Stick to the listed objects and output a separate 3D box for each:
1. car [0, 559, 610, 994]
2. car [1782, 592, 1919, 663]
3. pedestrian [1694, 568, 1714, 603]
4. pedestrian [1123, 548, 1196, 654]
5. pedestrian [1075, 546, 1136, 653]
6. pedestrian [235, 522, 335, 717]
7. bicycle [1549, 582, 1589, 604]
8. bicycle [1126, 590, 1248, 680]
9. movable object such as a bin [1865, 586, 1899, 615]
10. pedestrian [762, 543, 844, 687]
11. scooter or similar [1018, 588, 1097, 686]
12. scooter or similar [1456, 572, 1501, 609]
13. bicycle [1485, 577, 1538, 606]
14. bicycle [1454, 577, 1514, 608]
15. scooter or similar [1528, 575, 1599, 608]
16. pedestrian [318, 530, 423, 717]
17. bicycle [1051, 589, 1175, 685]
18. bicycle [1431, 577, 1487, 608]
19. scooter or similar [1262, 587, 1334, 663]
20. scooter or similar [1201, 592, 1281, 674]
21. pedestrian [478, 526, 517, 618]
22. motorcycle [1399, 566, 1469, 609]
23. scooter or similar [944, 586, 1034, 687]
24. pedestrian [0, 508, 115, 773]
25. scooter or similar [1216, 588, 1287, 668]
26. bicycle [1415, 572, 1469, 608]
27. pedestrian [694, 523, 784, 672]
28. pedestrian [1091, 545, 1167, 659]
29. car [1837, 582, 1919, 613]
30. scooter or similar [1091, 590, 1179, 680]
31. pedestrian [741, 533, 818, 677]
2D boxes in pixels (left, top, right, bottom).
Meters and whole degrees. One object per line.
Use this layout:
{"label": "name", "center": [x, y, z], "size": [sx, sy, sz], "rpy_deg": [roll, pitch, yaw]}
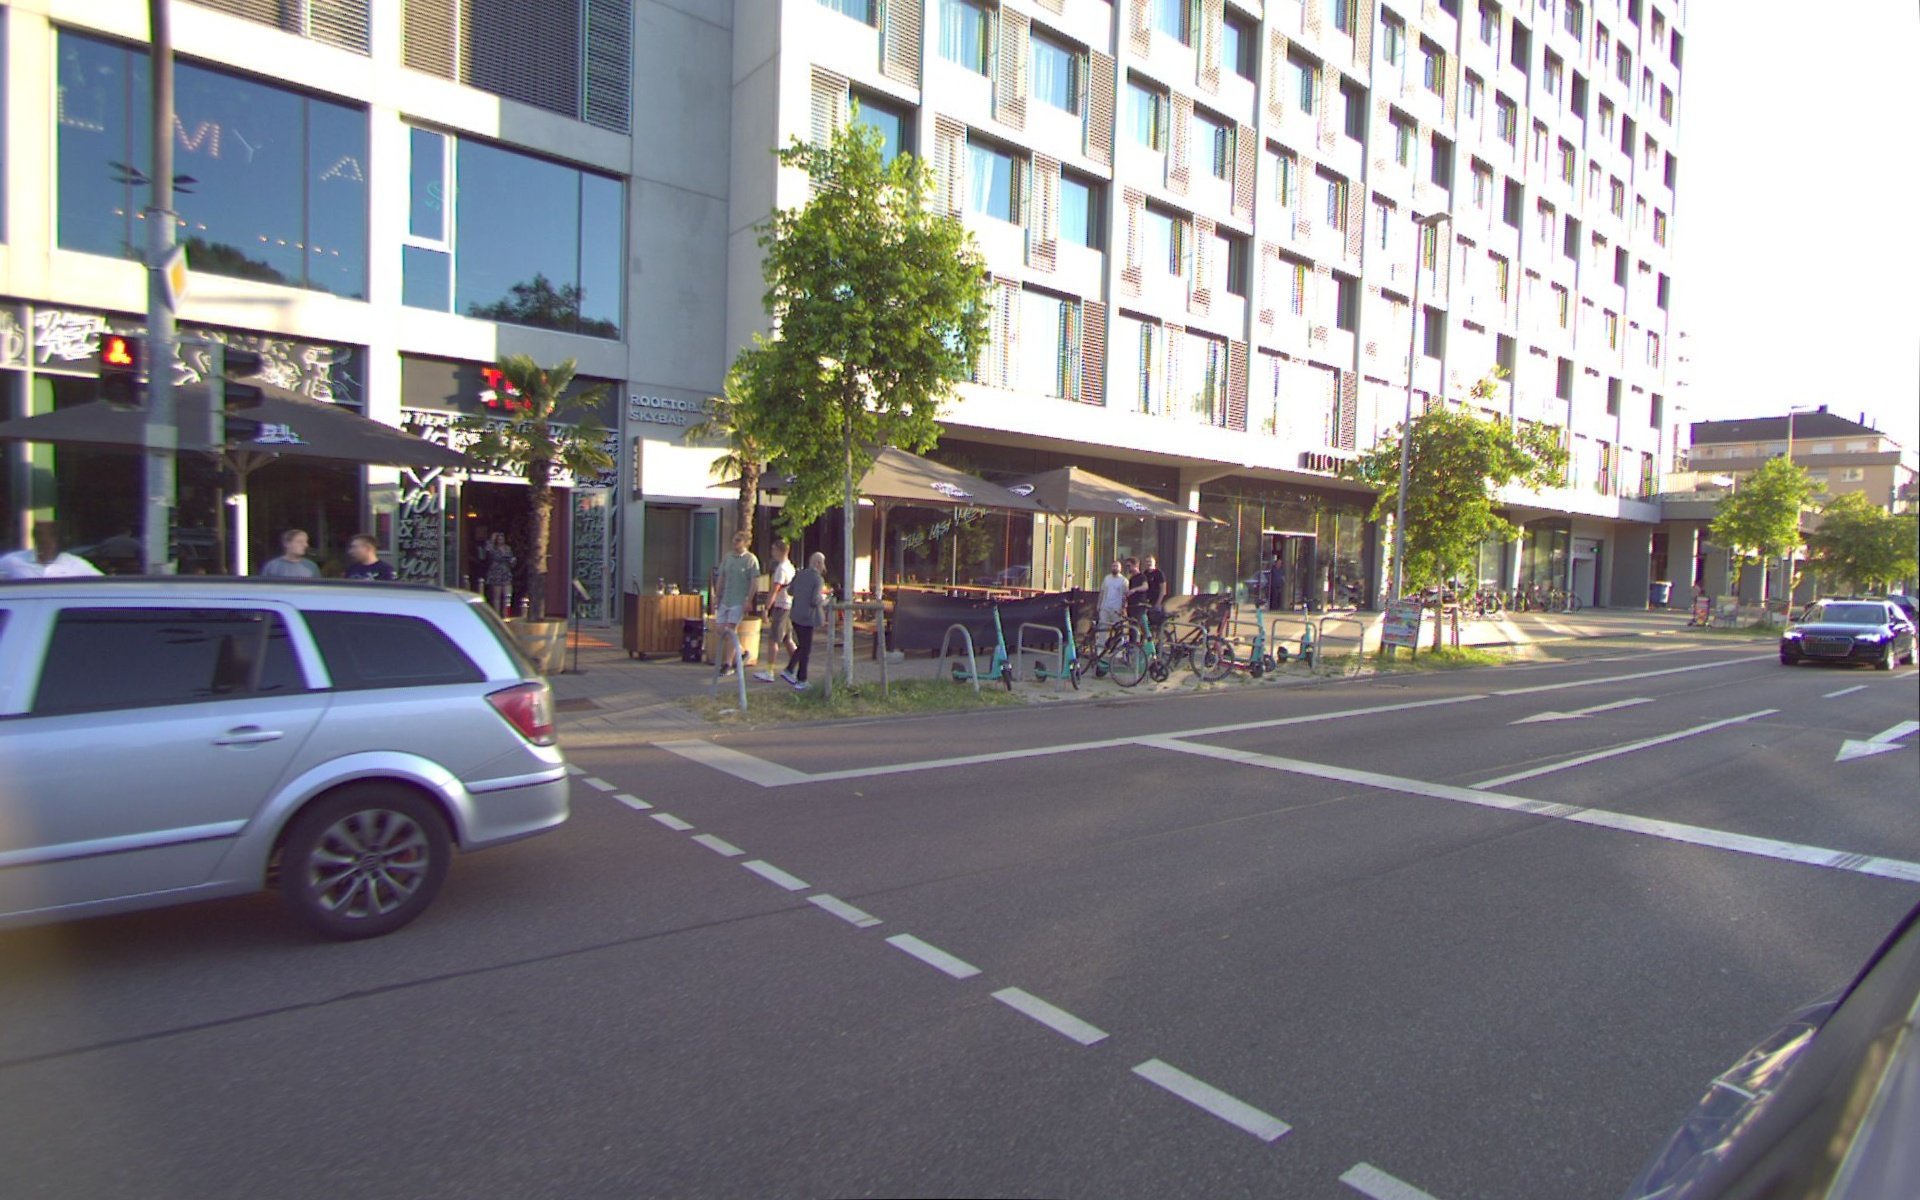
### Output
{"label": "car", "center": [-3.851, 0.589, 4.166], "size": [4.222, 1.482, 1.834], "rpy_deg": [0, 1, -36]}
{"label": "car", "center": [19.902, 0.533, 22.340], "size": [4.199, 1.412, 1.915], "rpy_deg": [0, 1, -39]}
{"label": "pedestrian", "center": [36.226, -0.718, 49.258], "size": [0.632, 1.638, 0.577], "rpy_deg": [0, 4, -42]}
{"label": "pedestrian", "center": [3.600, 0.003, 18.300], "size": [0.921, 1.846, 0.760], "rpy_deg": [0, 4, -30]}
{"label": "pedestrian", "center": [2.589, -0.014, 18.016], "size": [0.761, 1.832, 0.622], "rpy_deg": [0, 5, -30]}
{"label": "pedestrian", "center": [-6.420, 0.161, 9.656], "size": [0.673, 1.755, 0.763], "rpy_deg": [1, 4, -26]}
{"label": "bicycle", "center": [26.777, -0.300, 44.497], "size": [0.449, 0.902, 1.425], "rpy_deg": [0, 3, -39]}
{"label": "bicycle", "center": [3.541, 0.512, 15.952], "size": [0.597, 1.196, 1.852], "rpy_deg": [0, 5, -39]}
{"label": "movable object such as a bin", "center": [45.110, 0.008, 49.507], "size": [1.085, 1.317, 1.339], "rpy_deg": [6, 5, 44]}
{"label": "pedestrian", "center": [-1.997, 0.166, 12.843], "size": [0.853, 1.724, 0.569], "rpy_deg": [5, 4, 42]}
{"label": "scooter or similar", "center": [1.351, 0.500, 14.195], "size": [0.538, 1.237, 1.067], "rpy_deg": [1, 4, -29]}
{"label": "scooter or similar", "center": [19.038, -0.360, 37.181], "size": [0.598, 1.248, 1.270], "rpy_deg": [0, 4, -43]}
{"label": "bicycle", "center": [21.878, -0.343, 40.157], "size": [0.541, 0.998, 1.703], "rpy_deg": [0, 5, -42]}
{"label": "bicycle", "center": [19.886, -0.304, 38.417], "size": [0.556, 1.021, 1.890], "rpy_deg": [0, 5, -41]}
{"label": "scooter or similar", "center": [24.874, -0.366, 41.737], "size": [0.609, 1.197, 2.379], "rpy_deg": [0, 4, -39]}
{"label": "pedestrian", "center": [-5.685, 0.206, 9.787], "size": [0.642, 1.722, 0.691], "rpy_deg": [2, 3, -9]}
{"label": "bicycle", "center": [2.231, 0.511, 14.965], "size": [0.558, 1.208, 1.796], "rpy_deg": [0, 5, -43]}
{"label": "bicycle", "center": [18.296, -0.281, 37.105], "size": [0.541, 0.998, 1.703], "rpy_deg": [0, 4, -42]}
{"label": "scooter or similar", "center": [6.100, 0.429, 18.319], "size": [0.524, 1.232, 1.300], "rpy_deg": [1, 4, -15]}
{"label": "scooter or similar", "center": [4.622, 0.519, 16.671], "size": [0.500, 1.205, 1.160], "rpy_deg": [-2, 6, -37]}
{"label": "pedestrian", "center": [-8.328, -0.497, 18.227], "size": [0.547, 1.621, 0.452], "rpy_deg": [0, 0, -38]}
{"label": "motorcycle", "center": [16.882, -0.453, 36.093], "size": [2.107, 1.403, 0.663], "rpy_deg": [5, 3, 37]}
{"label": "scooter or similar", "center": [0.381, 0.465, 13.661], "size": [0.588, 1.238, 1.053], "rpy_deg": [0, 4, -43]}
{"label": "pedestrian", "center": [-6.812, 0.270, 7.517], "size": [0.756, 1.870, 0.679], "rpy_deg": [1, 3, -35]}
{"label": "scooter or similar", "center": [5.006, 0.458, 17.426], "size": [0.521, 1.228, 1.135], "rpy_deg": [0, 5, -24]}
{"label": "bicycle", "center": [17.473, -0.364, 36.718], "size": [1.605, 1.168, 0.603], "rpy_deg": [6, 4, 39]}
{"label": "pedestrian", "center": [-2.982, -0.068, 13.699], "size": [0.820, 1.910, 0.858], "rpy_deg": [4, 4, 28]}
{"label": "pedestrian", "center": [2.894, 0.017, 17.376], "size": [0.921, 1.870, 0.747], "rpy_deg": [0, 5, -30]}
{"label": "car", "center": [52.938, -0.122, 57.710], "size": [3.931, 1.433, 1.745], "rpy_deg": [4, 4, 13]}
{"label": "scooter or similar", "center": [2.625, 0.501, 15.247], "size": [0.472, 1.216, 1.211], "rpy_deg": [0, 5, -43]}
{"label": "pedestrian", "center": [-2.366, 0.042, 13.240], "size": [0.812, 1.807, 0.579], "rpy_deg": [-1, 4, -30]}
